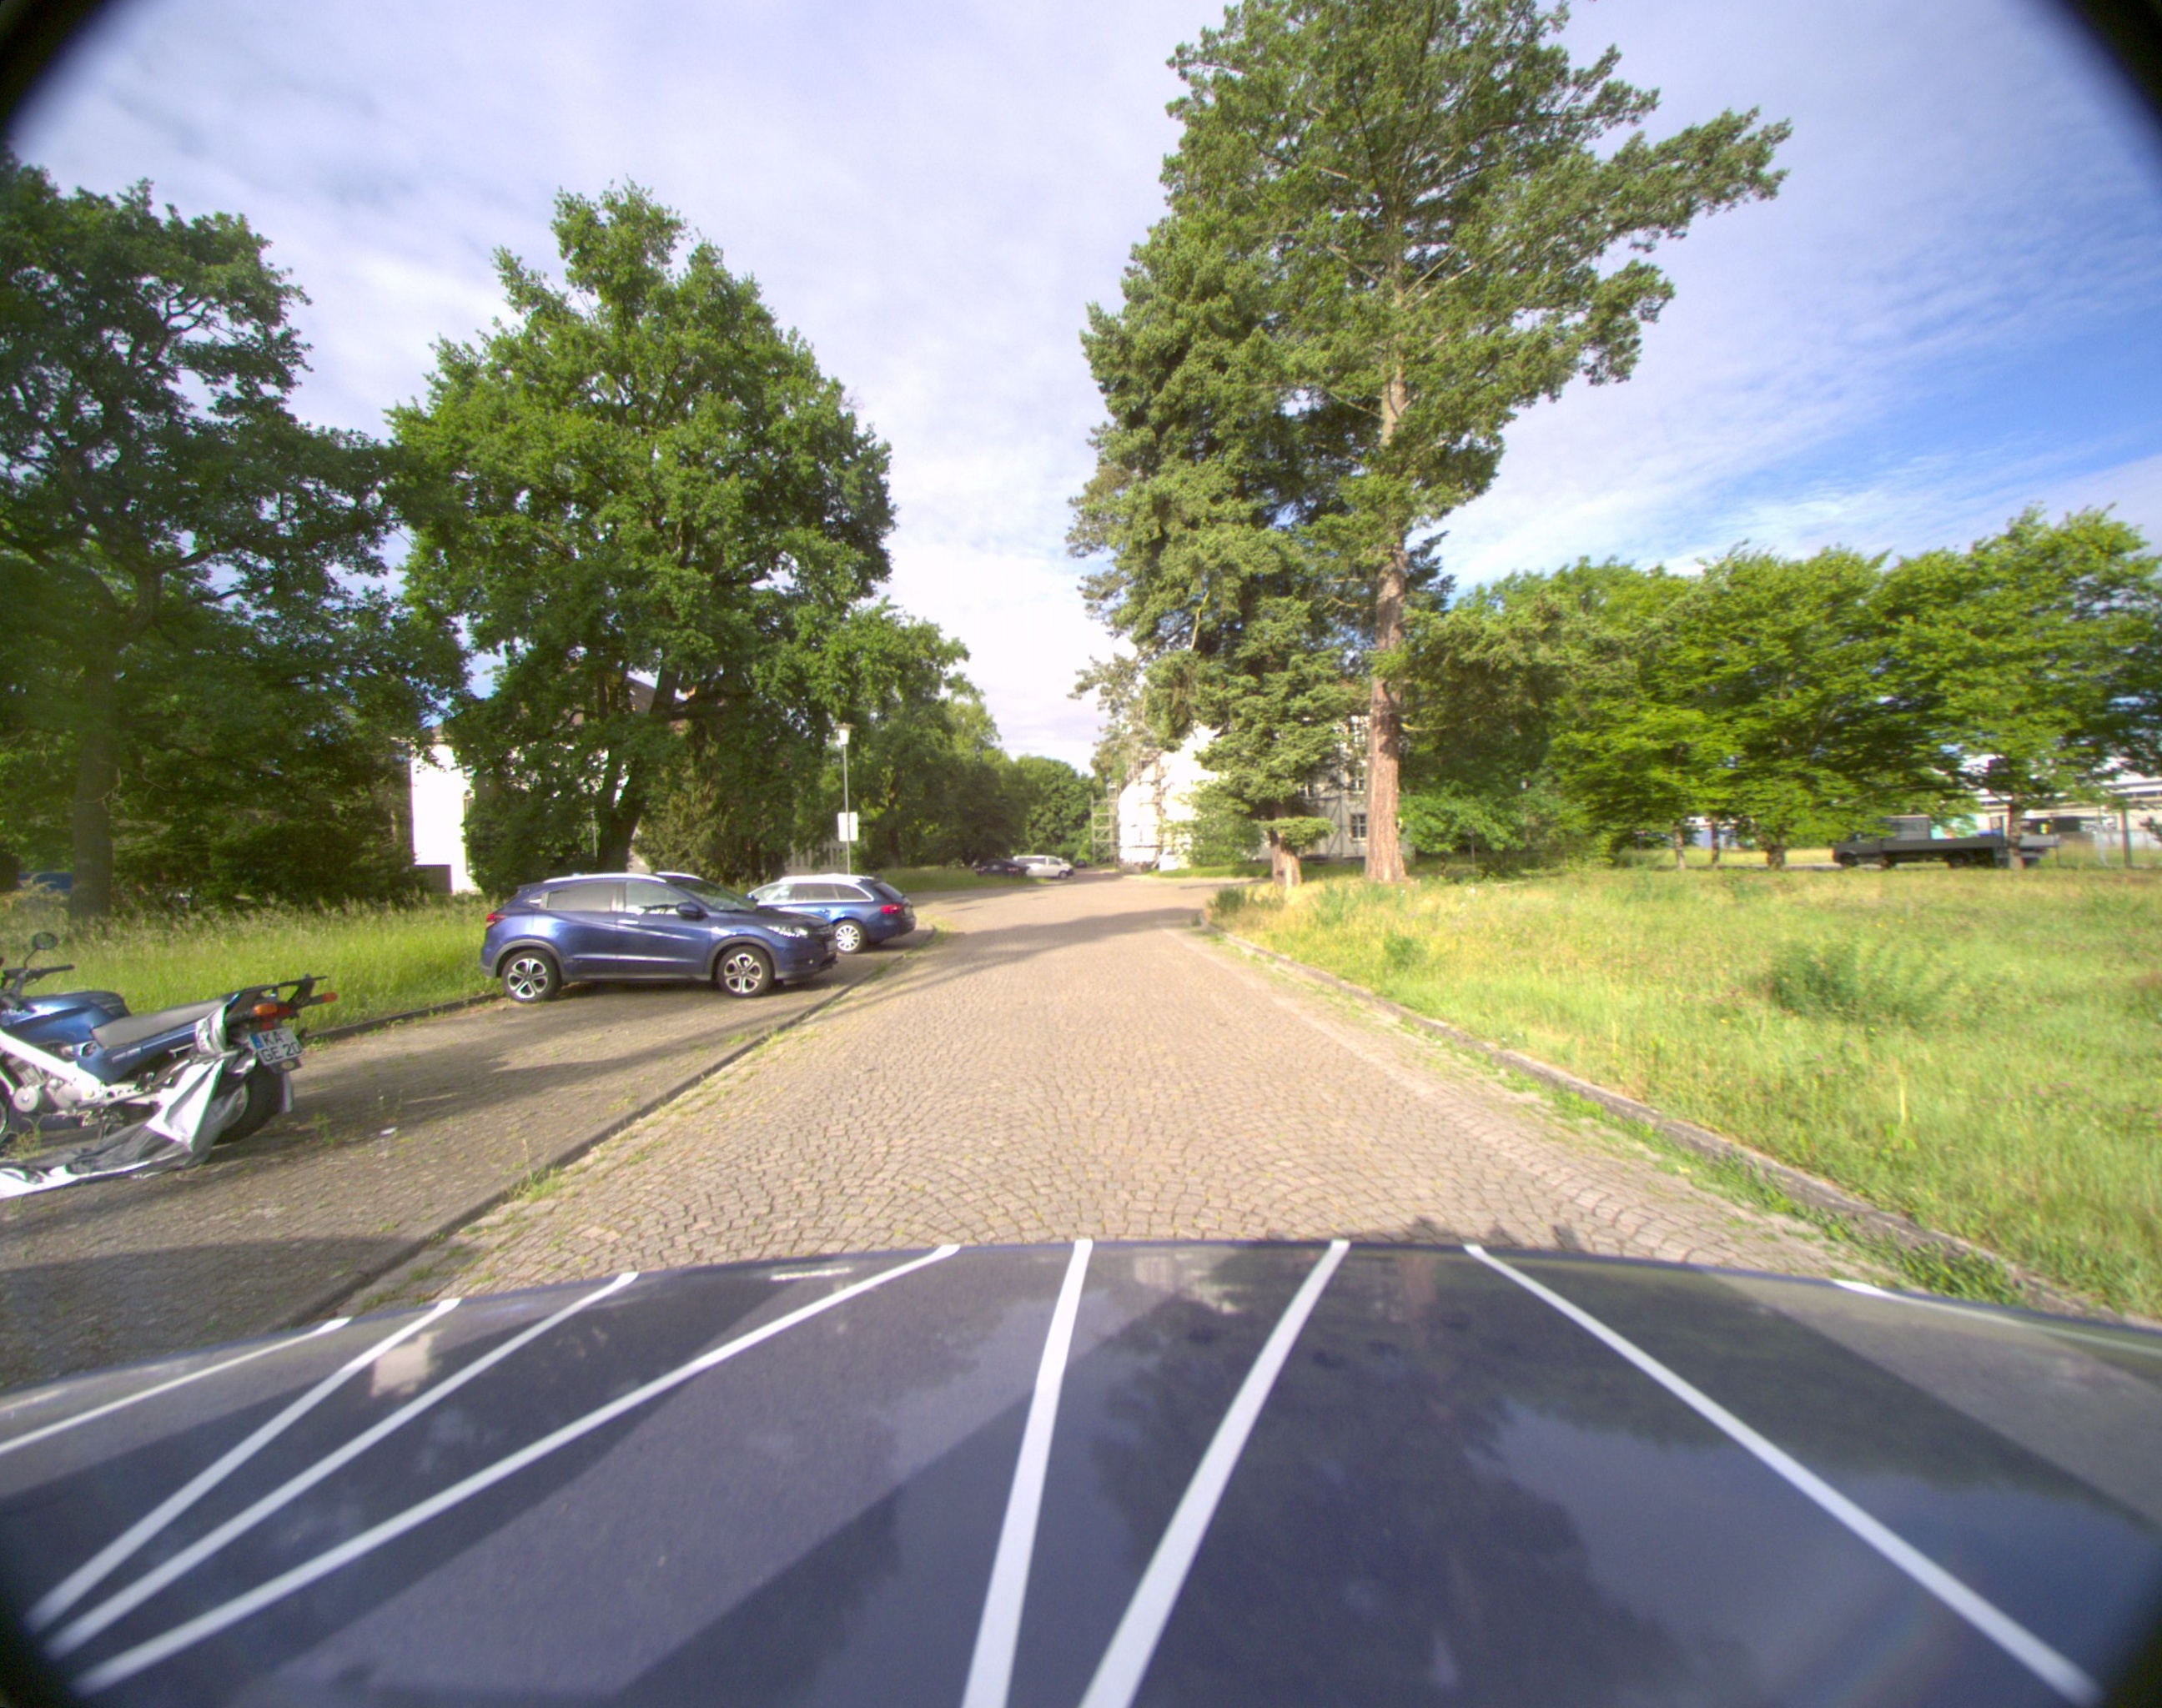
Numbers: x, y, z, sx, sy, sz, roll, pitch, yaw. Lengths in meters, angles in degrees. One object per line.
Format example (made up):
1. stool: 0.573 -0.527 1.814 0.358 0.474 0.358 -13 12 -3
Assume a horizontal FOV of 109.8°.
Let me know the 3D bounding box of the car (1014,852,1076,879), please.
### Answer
1. car: -2.998 0.925 63.831 5.079 2.029 2.000 -2 0 -2

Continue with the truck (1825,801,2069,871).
1. truck: 36.120 -0.657 32.184 2.417 2.571 6.958 -2 0 1

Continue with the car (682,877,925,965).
1. car: -5.258 1.257 14.791 4.036 1.442 1.783 -1 1 0

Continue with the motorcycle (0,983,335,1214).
1. motorcycle: -5.736 1.363 4.342 2.307 1.107 0.607 -1 1 0

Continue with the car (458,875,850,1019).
1. car: -5.416 1.150 10.086 4.136 1.560 1.746 -1 1 -2

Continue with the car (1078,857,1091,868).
1. car: 0.521 1.433 130.284 1.999 1.762 4.108 -2 1 -2

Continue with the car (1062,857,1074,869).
1. car: -2.200 1.478 129.977 1.875 1.888 3.999 -2 1 -2
